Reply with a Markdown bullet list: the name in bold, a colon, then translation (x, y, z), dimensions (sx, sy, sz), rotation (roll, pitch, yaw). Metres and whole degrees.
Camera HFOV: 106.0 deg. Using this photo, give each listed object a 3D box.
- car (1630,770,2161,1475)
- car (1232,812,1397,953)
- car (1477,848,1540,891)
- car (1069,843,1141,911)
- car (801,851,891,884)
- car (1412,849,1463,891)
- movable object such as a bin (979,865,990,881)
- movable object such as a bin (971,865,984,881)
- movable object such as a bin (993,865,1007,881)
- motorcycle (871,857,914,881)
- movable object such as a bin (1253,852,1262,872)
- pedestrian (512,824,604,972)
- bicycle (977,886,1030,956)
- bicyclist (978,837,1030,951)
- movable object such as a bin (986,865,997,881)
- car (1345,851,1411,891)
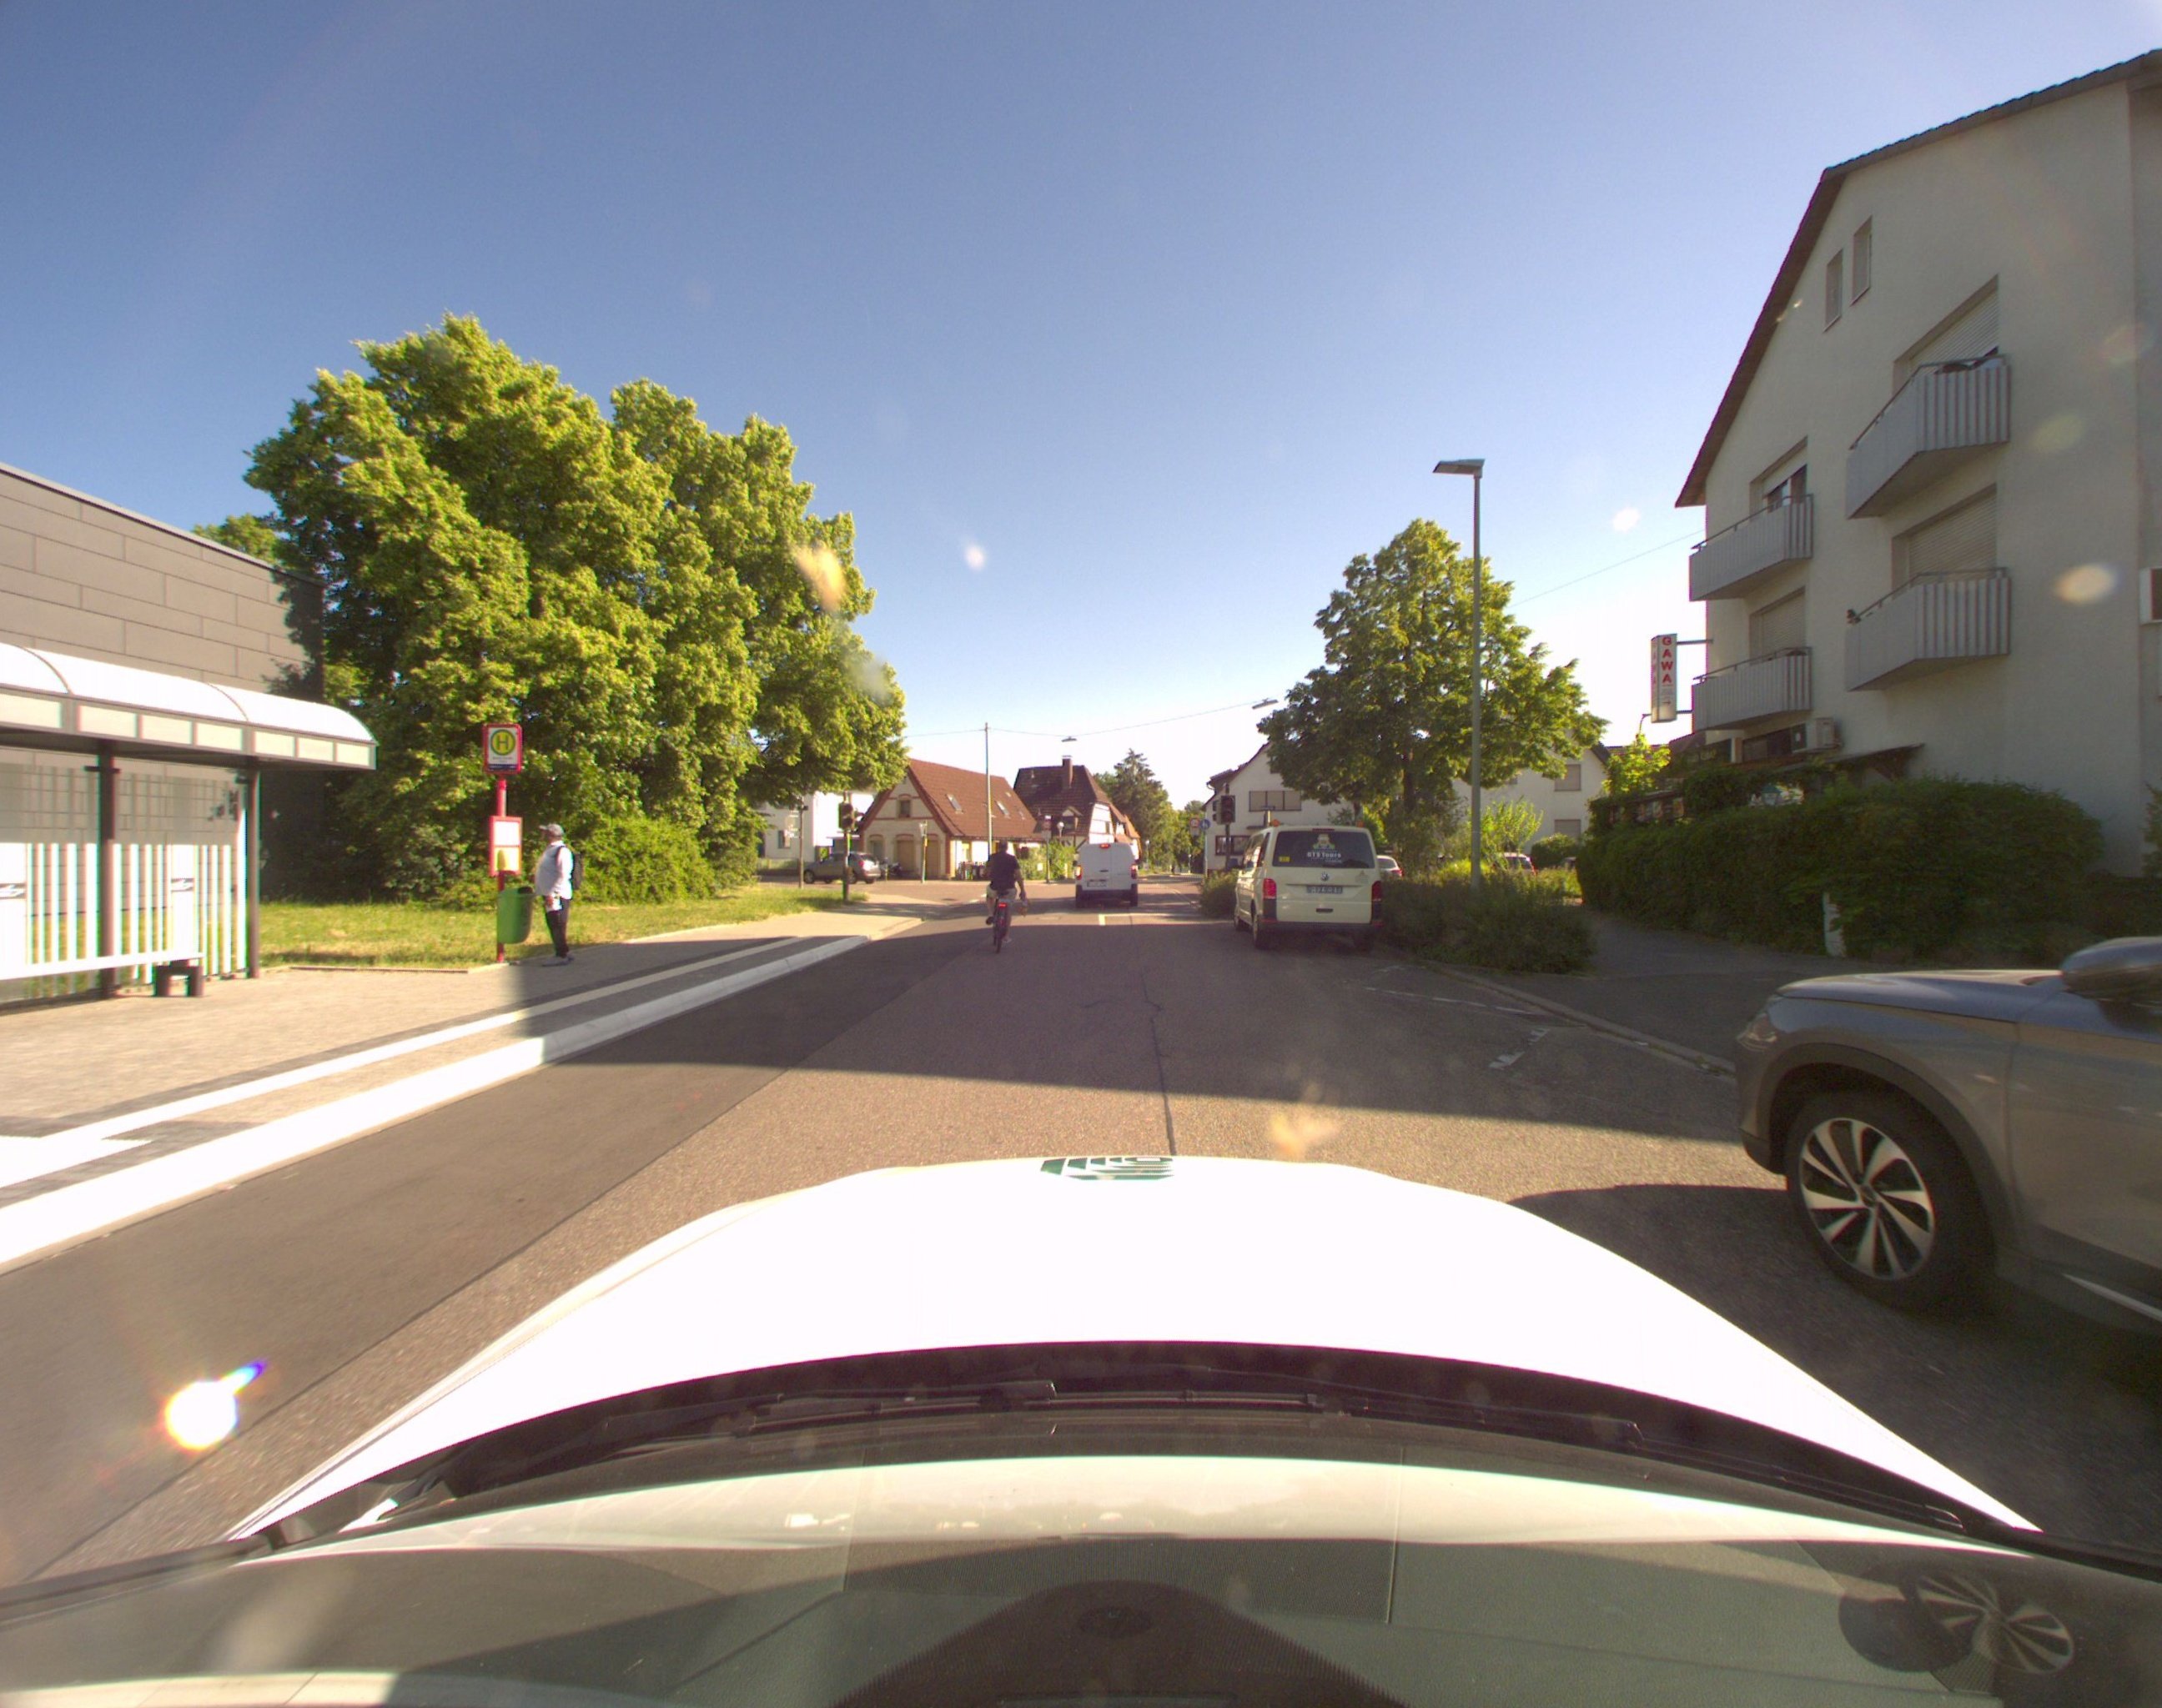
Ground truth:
- **car**: translation (3.641, 0.667, 1.717), dimensions (1.950, 1.738, 4.577), rotation (0, 0, 1)
- **car**: translation (3.889, 0.431, 14.385), dimensions (1.984, 2.079, 4.584), rotation (0, 0, 5)
- **car**: translation (17.407, 0.574, 33.350), dimensions (1.694, 1.551, 4.426), rotation (1, 2, 20)
- **car**: translation (0.689, 0.598, 24.643), dimensions (1.950, 1.848, 4.560), rotation (-1, 1, 1)
- **car**: translation (-12.561, 0.705, 43.650), dimensions (4.188, 1.725, 1.954), rotation (0, 0, 16)
- **car**: translation (14.867, 0.603, 34.144), dimensions (1.694, 1.517, 4.426), rotation (1, 2, 20)
- **movable object such as a bin**: translation (-5.497, 1.087, 46.440), dimensions (0.409, 0.906, 0.629), rotation (0, 1, 21)
- **movable object such as a bin**: translation (-5.941, 1.094, 46.644), dimensions (0.503, 0.924, 0.629), rotation (0, 0, 21)
- **movable object such as a bin**: translation (-4.594, 1.076, 46.119), dimensions (0.551, 0.924, 0.629), rotation (0, 0, 21)
- **motorcycle**: translation (-10.898, 0.870, 47.078), dimensions (2.223, 1.295, 0.887), rotation (-1, 2, 21)
- **movable object such as a bin**: translation (10.110, 0.442, 46.610), dimensions (0.523, 1.123, 0.751), rotation (0, 0, 12)
- **pedestrian**: translation (-6.730, 0.529, 10.489), dimensions (0.709, 1.802, 0.776), rotation (2, 1, 37)
- **bicycle**: translation (-1.266, 1.061, 13.436), dimensions (0.773, 0.940, 2.287), rotation (-1, 0, -5)
- **bicyclist**: translation (-1.254, 0.626, 13.293), dimensions (0.763, 1.788, 0.851), rotation (-2, 0, -5)
- **movable object such as a bin**: translation (-5.082, 1.084, 46.297), dimensions (0.407, 0.924, 0.629), rotation (0, 0, 21)
- **car**: translation (12.298, 0.634, 34.005), dimensions (1.980, 1.421, 4.820), rotation (0, 2, 13)
